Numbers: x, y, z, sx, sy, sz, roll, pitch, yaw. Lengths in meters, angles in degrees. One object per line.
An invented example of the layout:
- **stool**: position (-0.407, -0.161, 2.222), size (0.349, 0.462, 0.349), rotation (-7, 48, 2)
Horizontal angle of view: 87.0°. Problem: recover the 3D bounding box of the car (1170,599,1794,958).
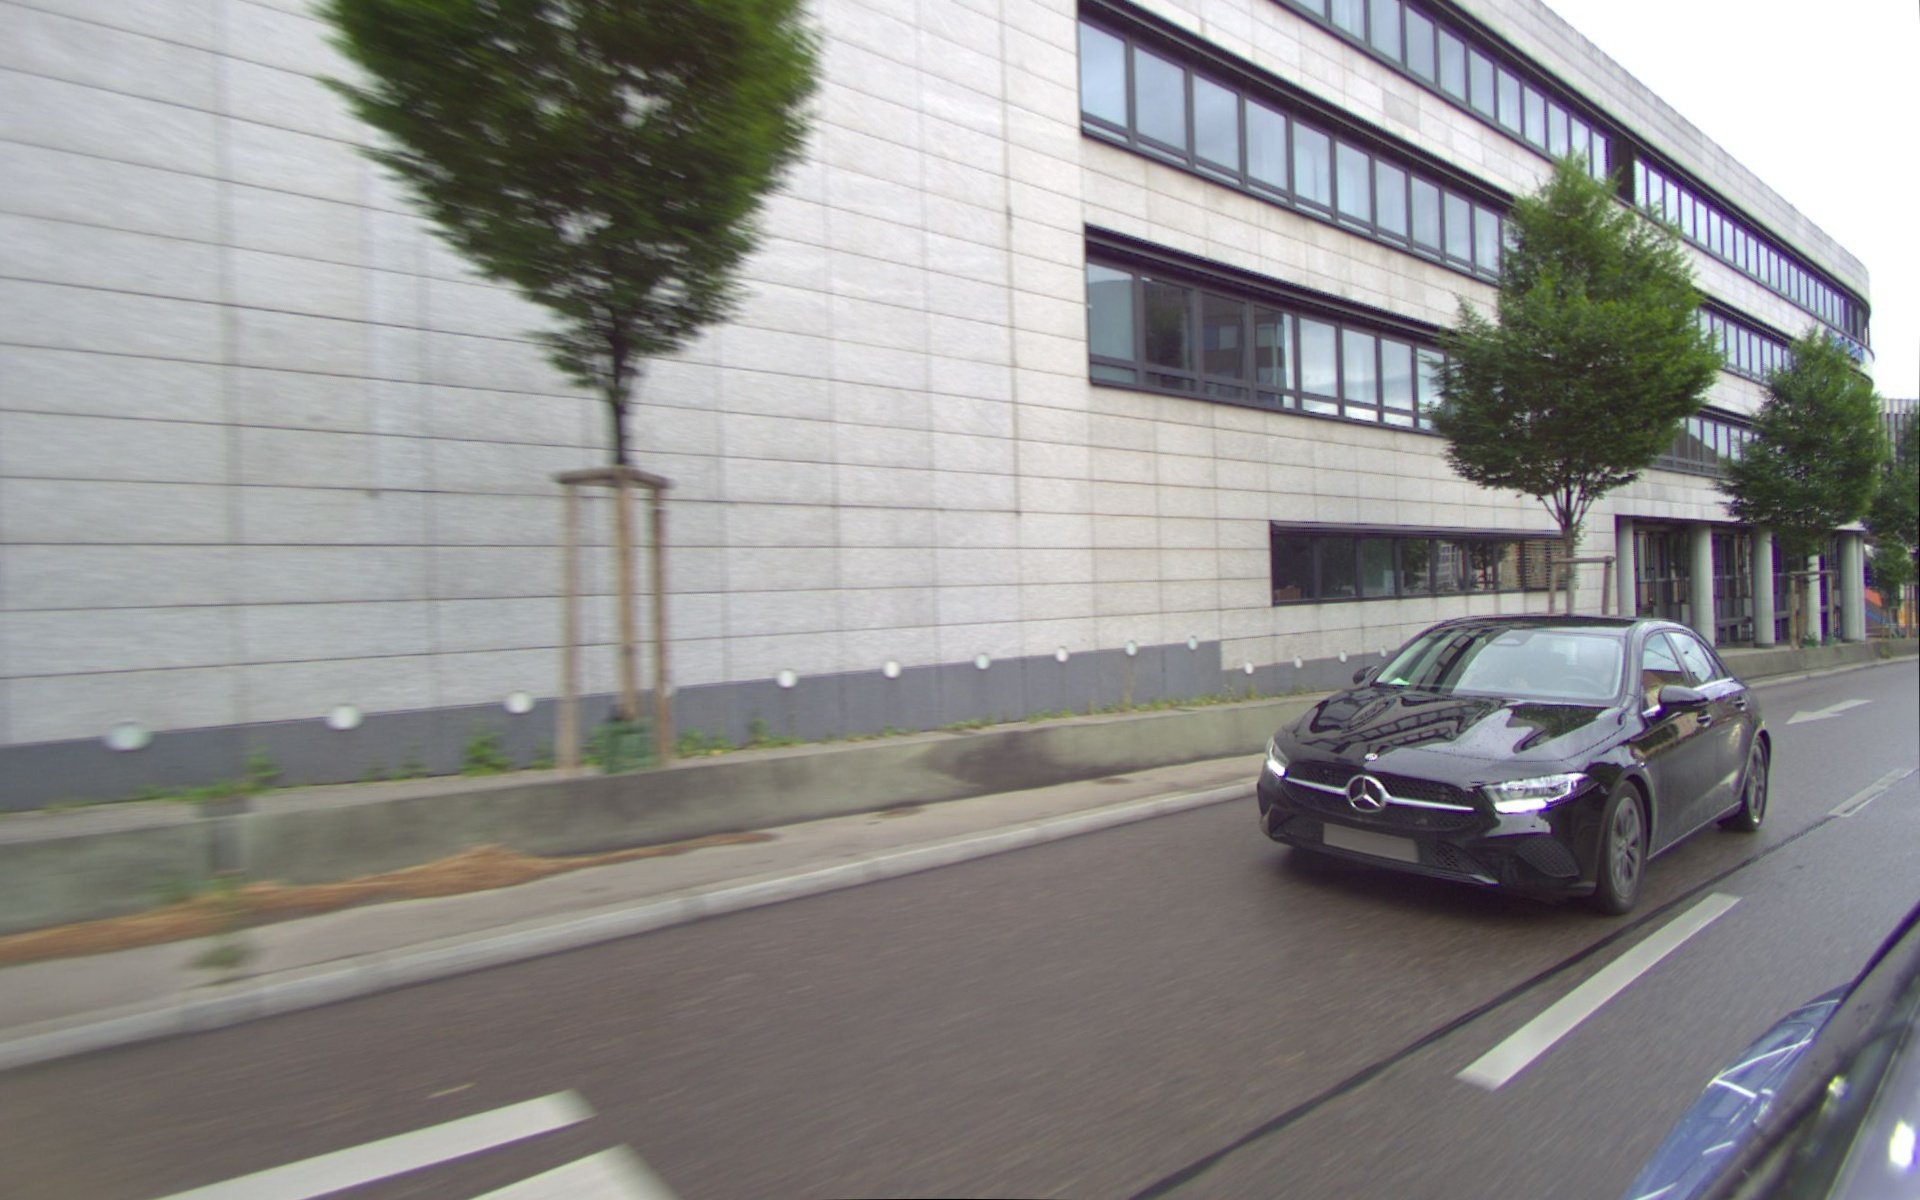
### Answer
- **car**: position (3.346, 0.736, 6.152), size (4.129, 1.455, 1.877), rotation (0, 0, -39)
